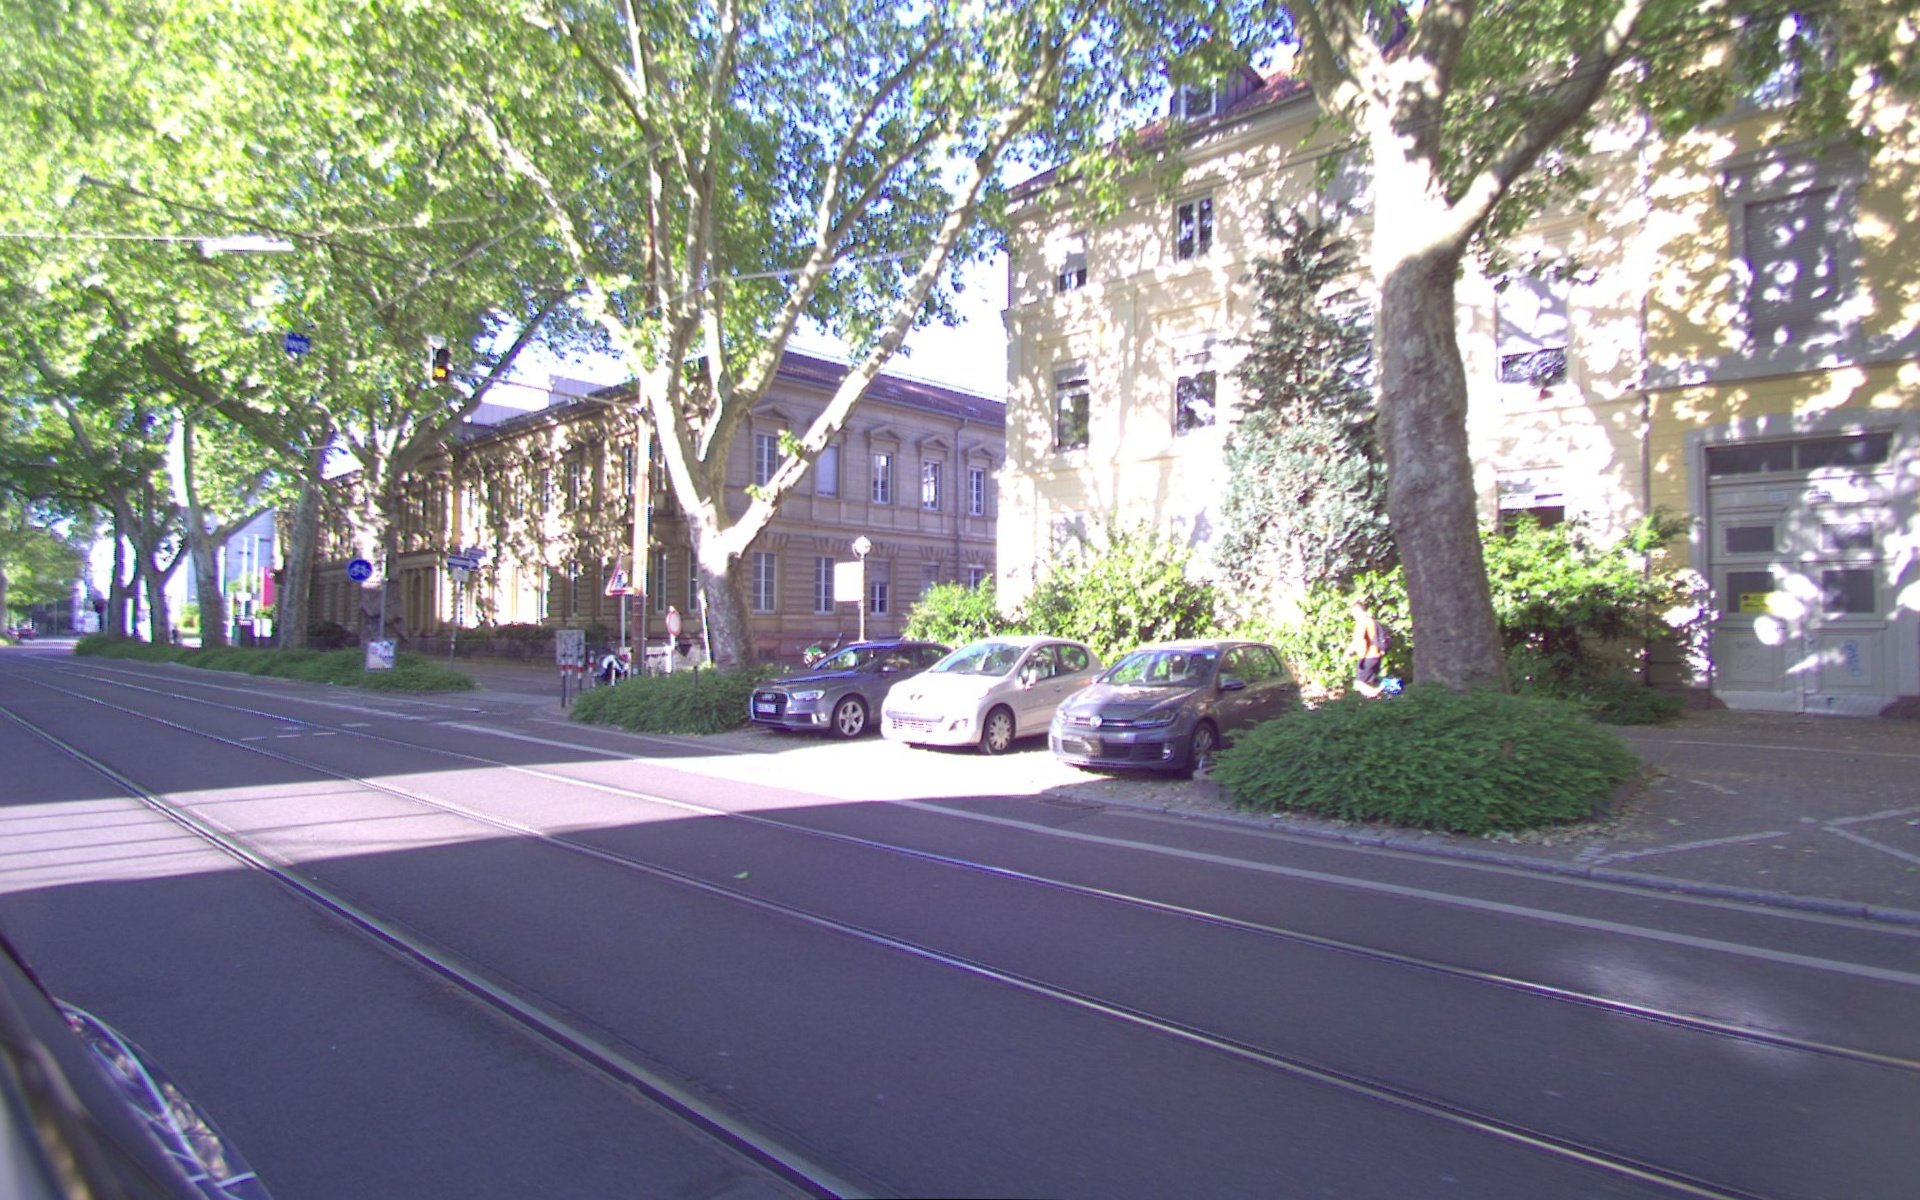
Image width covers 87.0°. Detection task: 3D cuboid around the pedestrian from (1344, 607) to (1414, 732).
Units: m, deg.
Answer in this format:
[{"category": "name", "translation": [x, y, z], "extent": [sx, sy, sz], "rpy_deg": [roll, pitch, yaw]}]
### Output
[{"category": "pedestrian", "translation": [6.516, 1.047, 15.716], "extent": [0.835, 1.863, 0.858], "rpy_deg": [-1, -2, 34]}]

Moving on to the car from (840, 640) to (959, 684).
[{"category": "car", "translation": [-2.101, 2.144, 35.783], "extent": [3.872, 1.342, 1.850], "rpy_deg": [0, -1, -41]}]

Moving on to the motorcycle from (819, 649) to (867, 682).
[{"category": "motorcycle", "translation": [-3.951, 2.179, 34.010], "extent": [0.710, 0.984, 1.959], "rpy_deg": [0, -1, -37]}]

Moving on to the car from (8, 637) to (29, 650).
[{"category": "car", "translation": [-118.582, 5.507, 127.448], "extent": [1.845, 1.642, 4.563], "rpy_deg": [2, -4, -44]}]

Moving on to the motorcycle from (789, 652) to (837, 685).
[{"category": "motorcycle", "translation": [-4.836, 2.226, 33.166], "extent": [0.710, 0.984, 1.959], "rpy_deg": [0, -1, -37]}]

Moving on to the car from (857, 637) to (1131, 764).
[{"category": "car", "translation": [0.591, 1.265, 14.074], "extent": [1.799, 1.464, 3.881], "rpy_deg": [-1, -2, 40]}]

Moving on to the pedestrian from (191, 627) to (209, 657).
[{"category": "pedestrian", "translation": [-47.934, 2.638, 63.840], "extent": [0.837, 1.863, 0.712], "rpy_deg": [-2, -2, 39]}]

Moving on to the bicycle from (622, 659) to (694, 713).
[{"category": "bicycle", "translation": [-5.838, 1.628, 19.504], "extent": [0.534, 0.948, 2.036], "rpy_deg": [1, -2, -41]}]

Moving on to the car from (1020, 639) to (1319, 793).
[{"category": "car", "translation": [2.600, 1.210, 11.957], "extent": [1.805, 1.473, 3.879], "rpy_deg": [-1, -2, 41]}]

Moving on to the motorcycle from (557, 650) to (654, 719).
[{"category": "motorcycle", "translation": [-6.584, 1.522, 18.724], "extent": [0.873, 1.156, 2.394], "rpy_deg": [1, -2, -41]}]

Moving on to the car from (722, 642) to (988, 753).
[{"category": "car", "translation": [-1.509, 1.386, 15.599], "extent": [1.847, 1.342, 3.879], "rpy_deg": [-1, -1, 41]}]

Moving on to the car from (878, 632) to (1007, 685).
[{"category": "car", "translation": [-0.451, 1.719, 29.579], "extent": [1.693, 1.429, 3.736], "rpy_deg": [-5, -6, 41]}]
